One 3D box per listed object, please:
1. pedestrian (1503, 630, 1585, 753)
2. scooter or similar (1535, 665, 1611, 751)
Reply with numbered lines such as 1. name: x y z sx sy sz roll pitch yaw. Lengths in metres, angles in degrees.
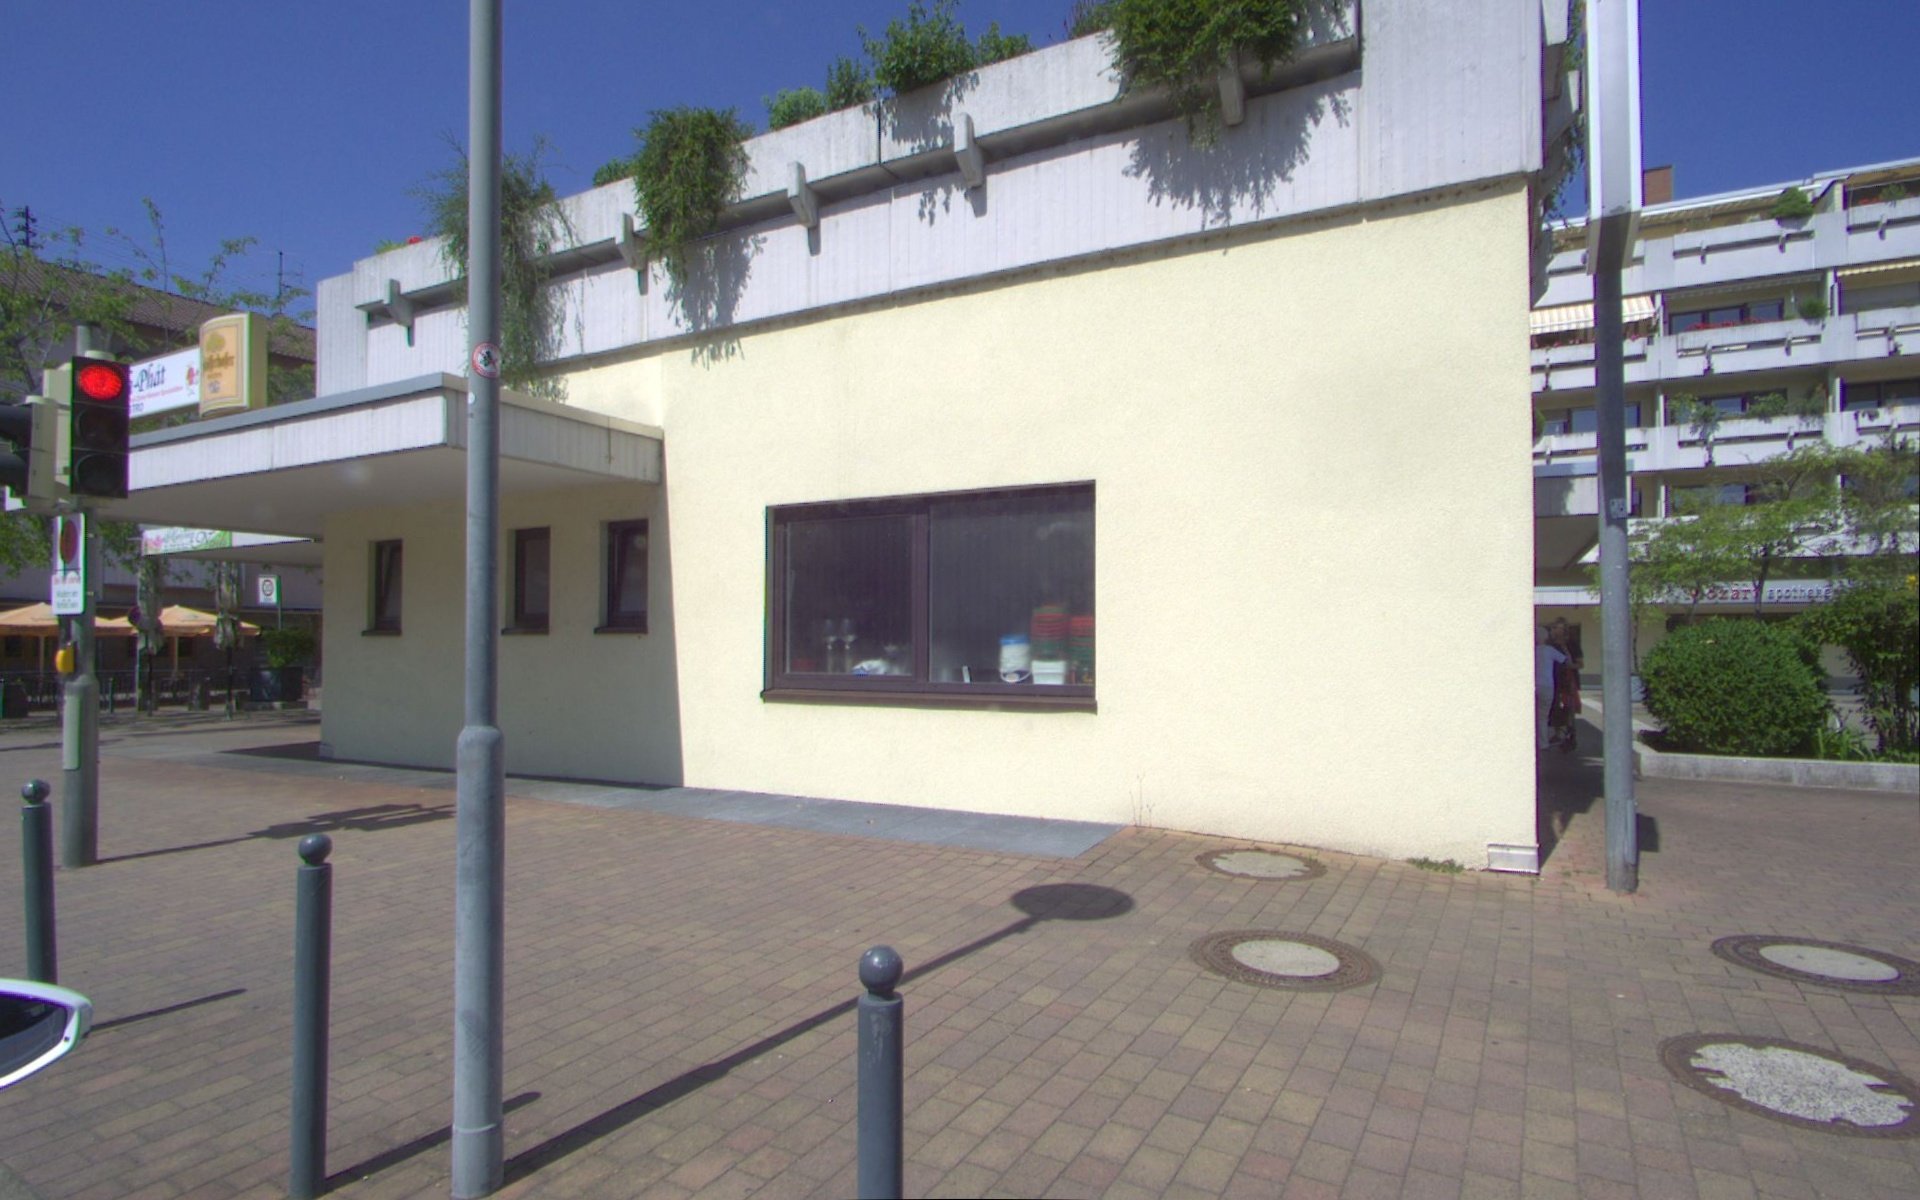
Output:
1. pedestrian: 7.517 1.157 12.896 0.801 1.516 0.615 1 -2 -35
2. scooter or similar: 8.164 1.421 13.337 0.795 1.088 0.587 2 -2 -35
